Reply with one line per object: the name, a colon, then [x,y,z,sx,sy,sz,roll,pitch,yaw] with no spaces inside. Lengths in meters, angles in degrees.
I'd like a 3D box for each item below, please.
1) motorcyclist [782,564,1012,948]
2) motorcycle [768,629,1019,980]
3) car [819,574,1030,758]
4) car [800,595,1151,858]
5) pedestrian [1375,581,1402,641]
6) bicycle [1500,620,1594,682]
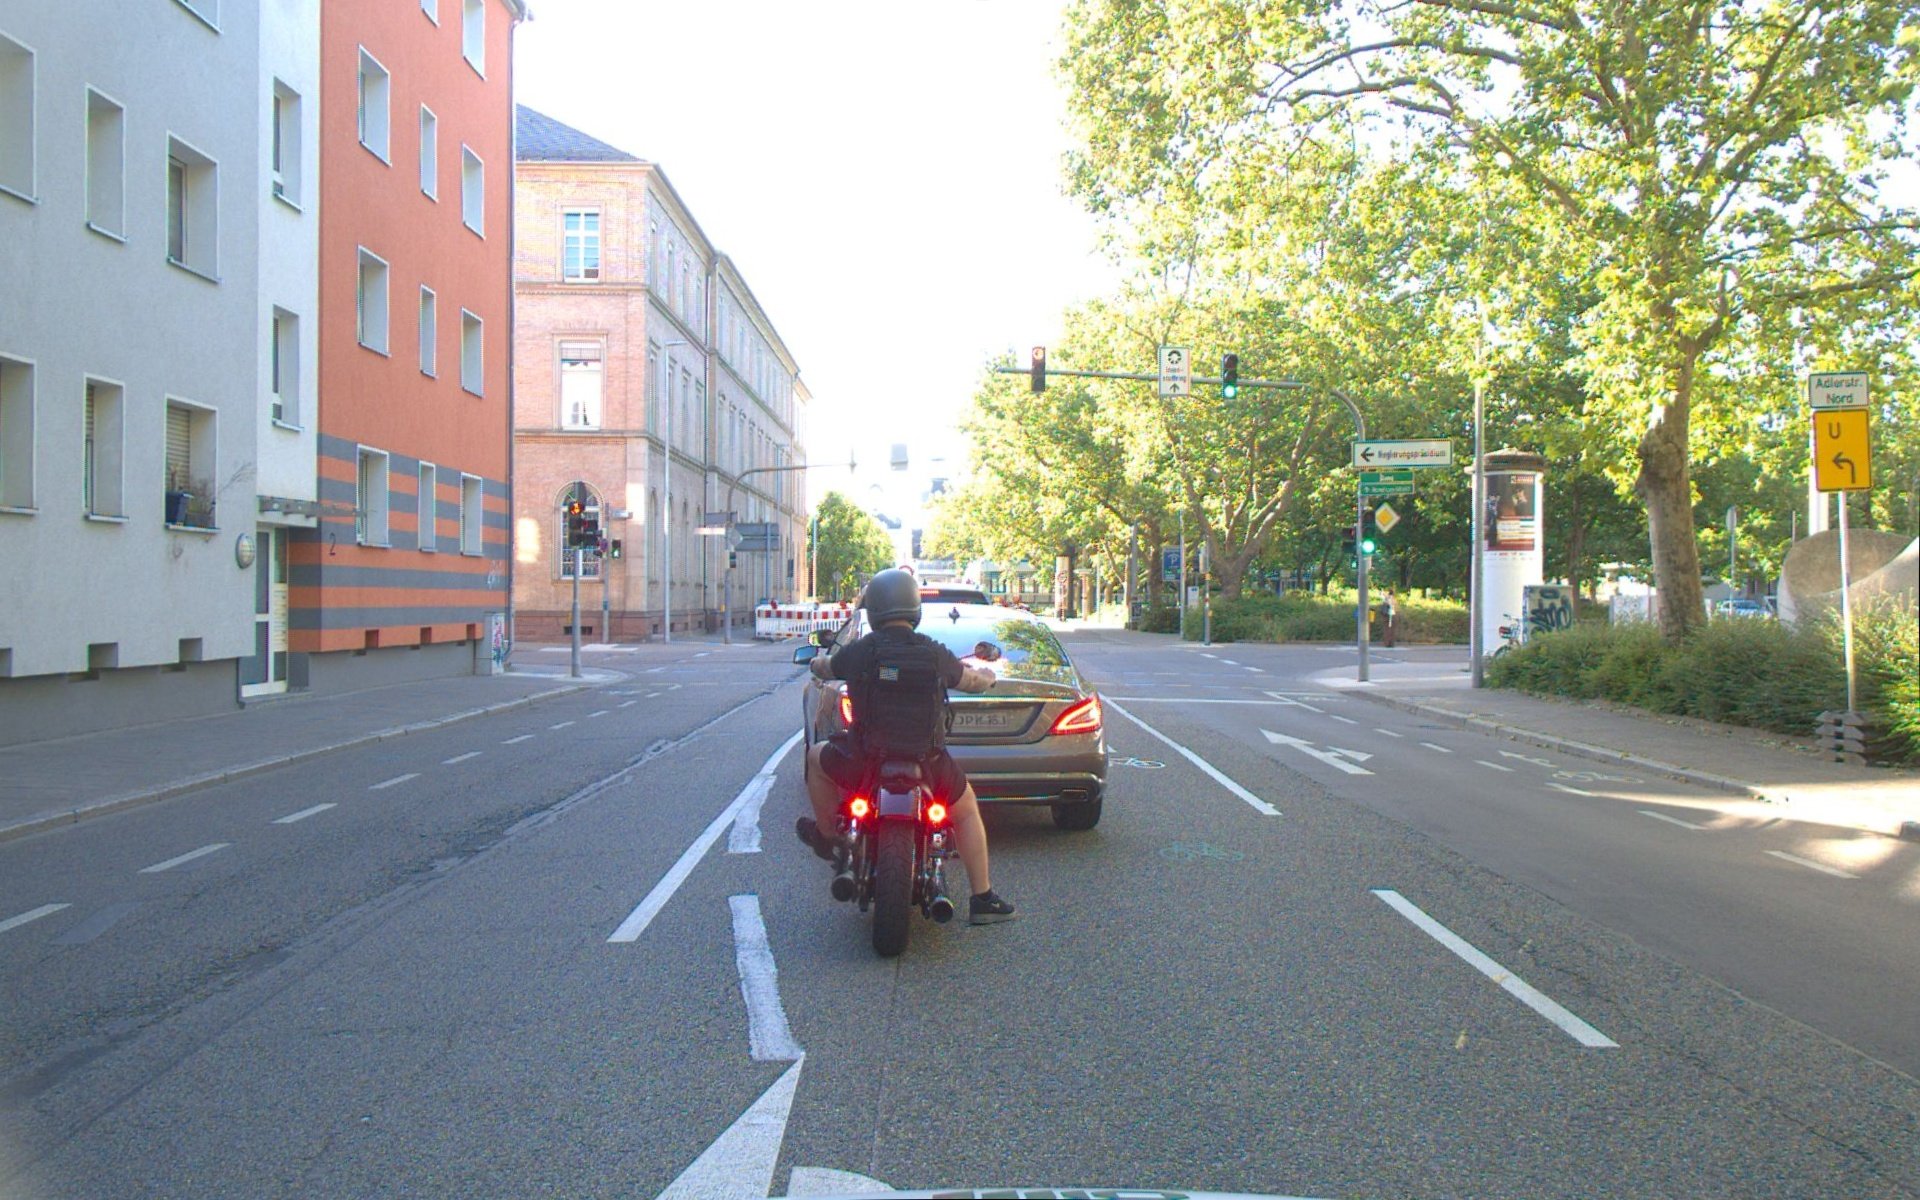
motorcyclist: [-0.271,0.651,7.551,0.961,1.606,1.248,0,0,-1]
motorcycle: [-0.273,0.806,7.564,0.961,1.297,2.407,0,0,-1]
car: [-0.358,0.633,17.546,1.953,1.695,3.999,1,0,-1]
car: [-0.110,0.709,11.627,1.834,1.469,4.422,0,0,-8]
pedestrian: [13.156,0.341,50.788,0.664,1.803,0.616,1,-1,29]
bicycle: [9.791,0.840,27.603,1.452,0.997,0.299,1,-1,5]
